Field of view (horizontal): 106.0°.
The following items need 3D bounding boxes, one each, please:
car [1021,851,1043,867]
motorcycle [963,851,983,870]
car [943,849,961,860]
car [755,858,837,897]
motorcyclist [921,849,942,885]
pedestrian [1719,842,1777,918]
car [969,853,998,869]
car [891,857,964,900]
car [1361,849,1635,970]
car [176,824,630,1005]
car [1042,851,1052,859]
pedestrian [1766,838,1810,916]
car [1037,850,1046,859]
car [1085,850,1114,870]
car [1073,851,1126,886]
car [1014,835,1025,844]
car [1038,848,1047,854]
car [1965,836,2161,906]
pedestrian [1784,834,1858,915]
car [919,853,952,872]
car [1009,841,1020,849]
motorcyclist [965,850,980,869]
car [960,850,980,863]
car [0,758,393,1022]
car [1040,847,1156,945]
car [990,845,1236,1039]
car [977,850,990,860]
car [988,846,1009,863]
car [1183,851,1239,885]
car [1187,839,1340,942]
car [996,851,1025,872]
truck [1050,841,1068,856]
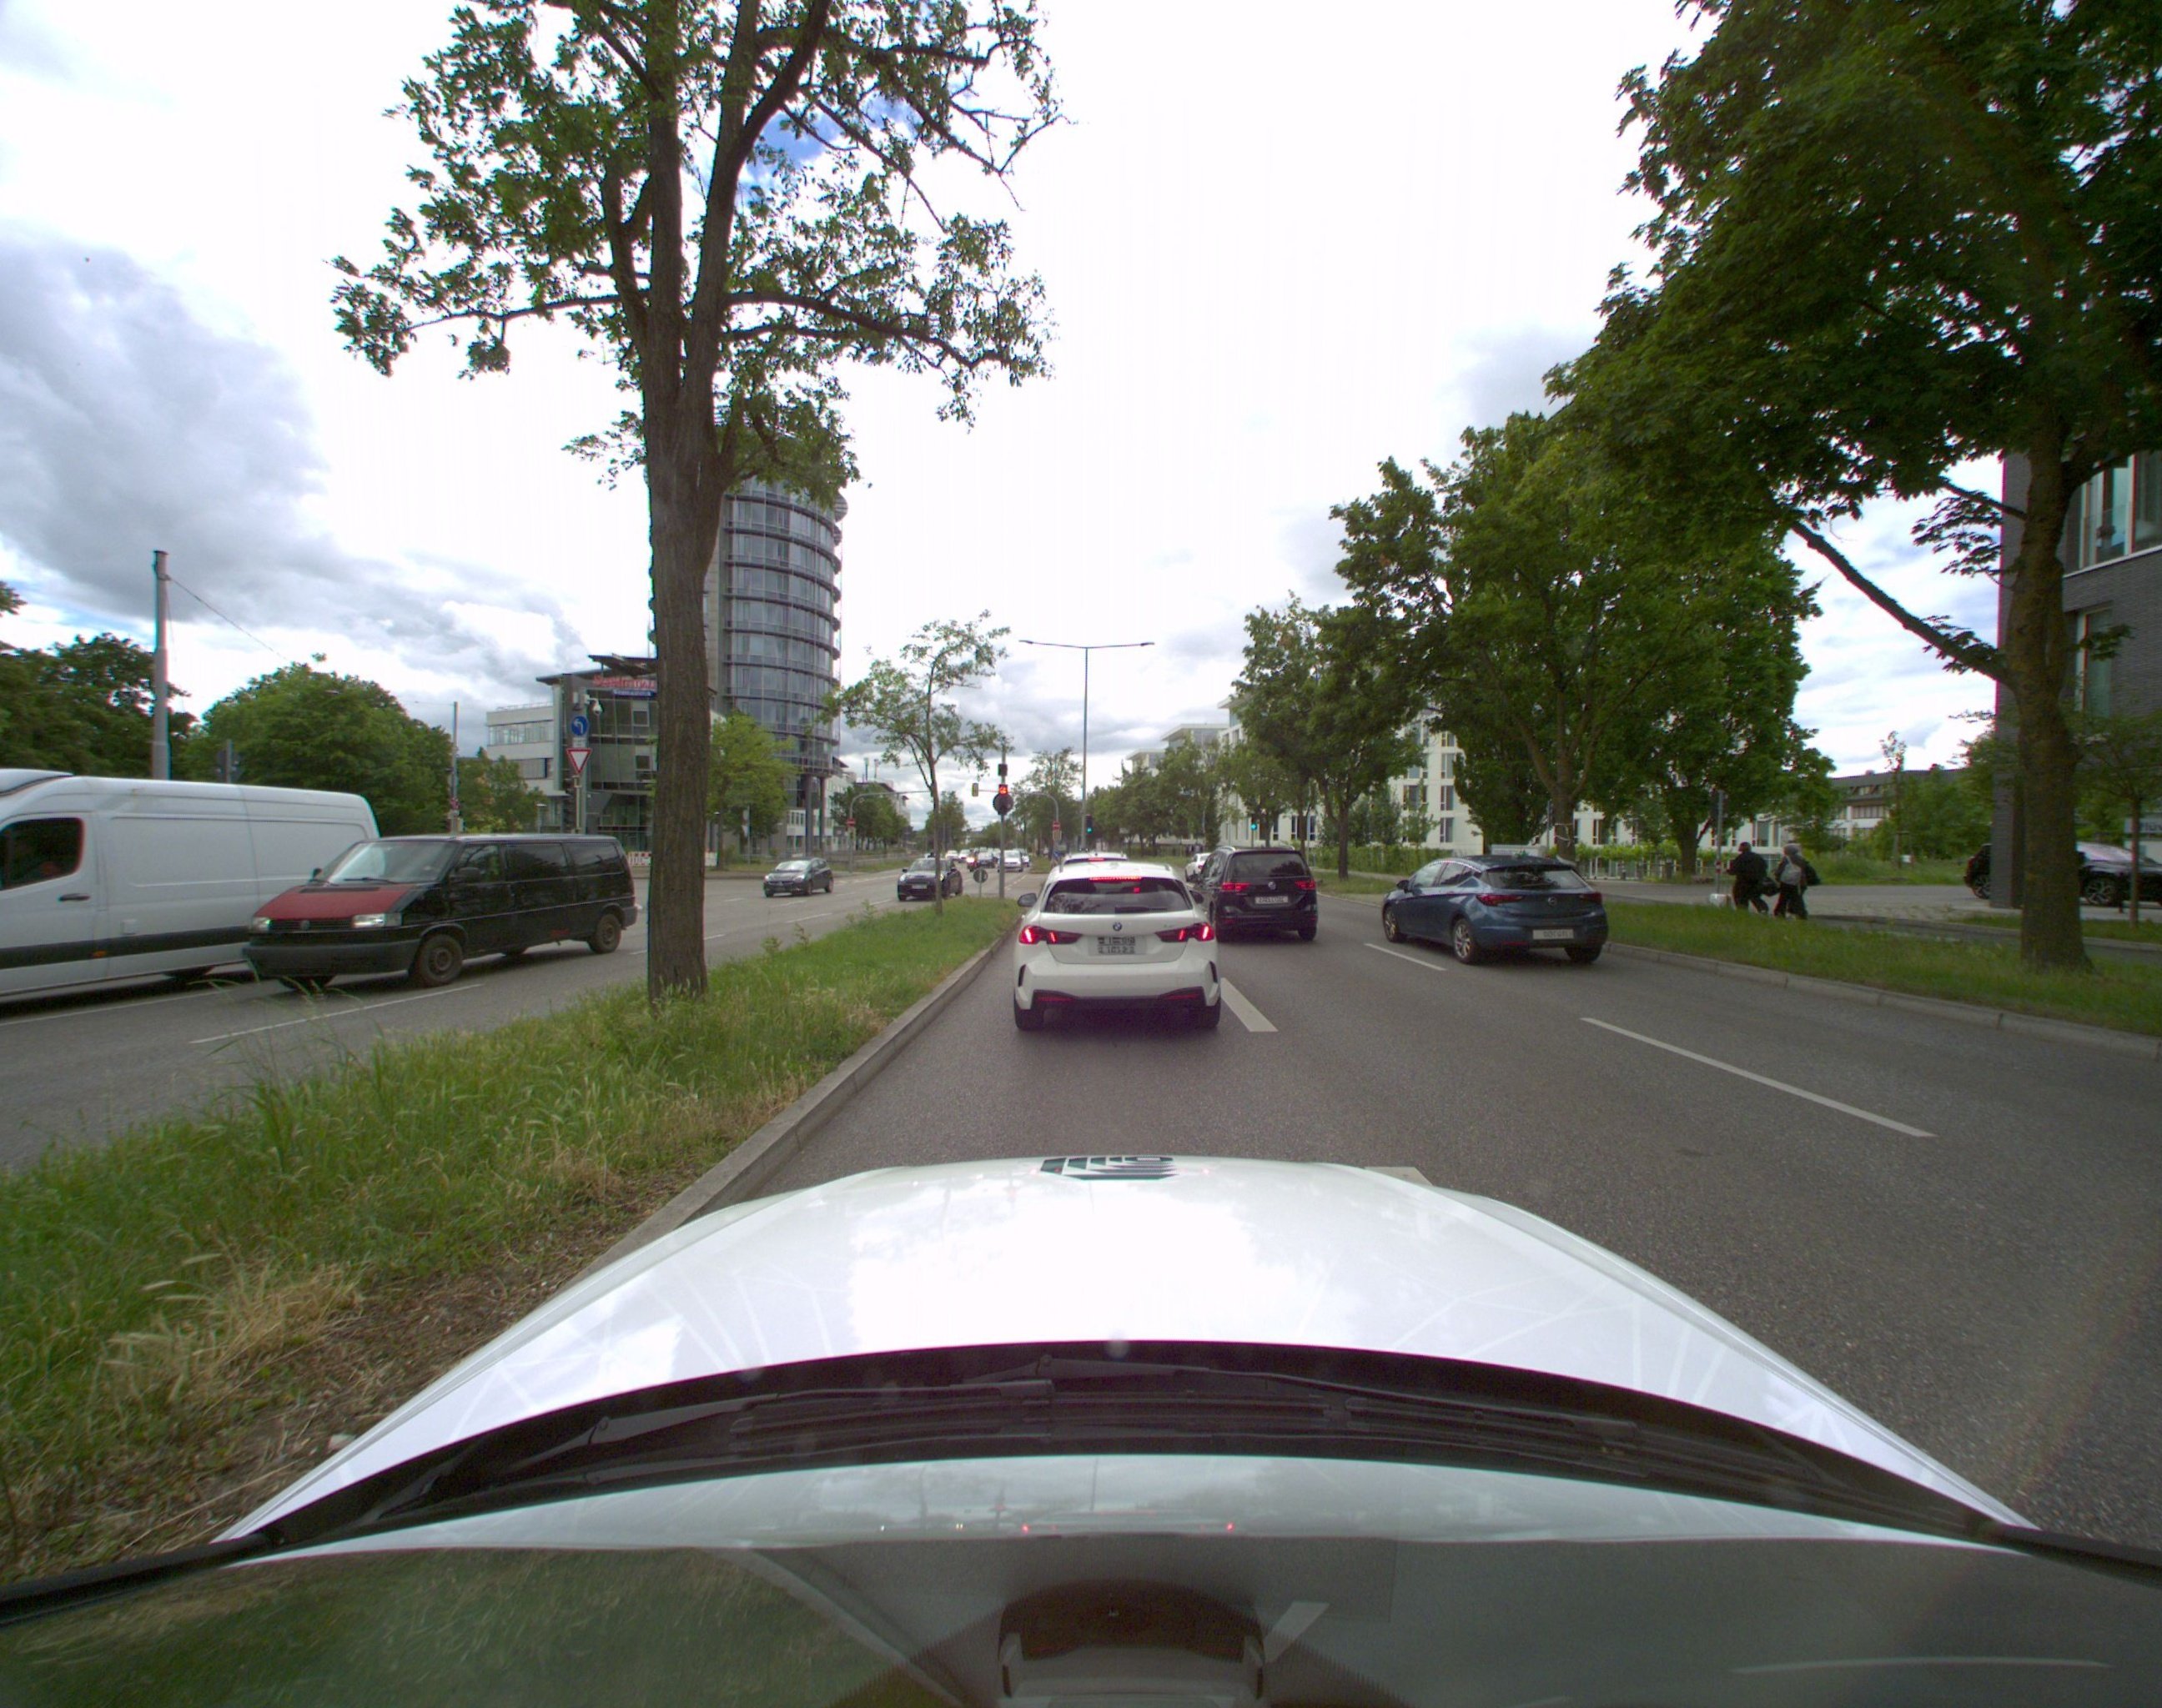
[{"bbox_3d":[-4.548,0.468,75.918,1.661,1.405,4.002,0,0,2],"label":"car"},{"bbox_3d":[-8.274,0.482,62.354,0.886,1.398,4.002,0,0,2],"label":"motorcycle"},{"bbox_3d":[-17.466,0.100,110.248,1.701,1.419,3.804,-1,0,2],"label":"car"},{"bbox_3d":[-11.166,0.880,32.156,1.701,1.419,4.020,-1,0,1],"label":"car"},{"bbox_3d":[-7.696,0.667,41.946,0.845,1.837,1.260,0,0,2],"label":"motorcyclist"},{"bbox_3d":[13.779,0.525,16.835,0.721,1.552,0.588,0,0,7],"label":"pedestrian"},{"bbox_3d":[-8.668,0.589,72.739,1.986,1.354,4.002,0,0,2],"label":"car"},{"bbox_3d":[-5.316,0.817,28.653,1.747,1.371,3.781,-1,0,2],"label":"car"},{"bbox_3d":[5.935,0.683,12.295,1.960,1.439,4.313,-2,0,1],"label":"car"},{"bbox_3d":[-8.583,0.632,11.137,1.928,1.918,4.975,0,0,2],"label":"car"},{"bbox_3d":[-6.879,0.135,164.707,1.991,1.508,3.993,0,0,-5],"label":"car"},{"bbox_3d":[14.440,0.470,16.637,0.407,1.552,0.563,3,-1,7],"label":"pedestrian"},{"bbox_3d":[-9.360,0.152,192.685,1.986,2.013,4.002,0,0,2],"label":"car"},{"bbox_3d":[1.593,0.493,71.156,2.049,1.486,4.967,-3,1,-3],"label":"car"},{"bbox_3d":[0.910,0.635,37.296,1.983,1.508,4.008,0,0,7],"label":"car"},{"bbox_3d":[-13.238,-3.108,174.808,1.988,2.011,4.322,2,0,-1],"label":"car"},{"bbox_3d":[-9.135,-0.738,193.581,1.992,1.508,3.991,0,0,-7],"label":"car"},{"bbox_3d":[25.003,0.374,20.194,1.817,1.552,4.183,0,0,4],"label":"car"},{"bbox_3d":[15.302,0.410,16.867,0.586,1.551,0.745,12,1,7],"label":"pedestrian"},{"bbox_3d":[-11.201,0.644,62.983,1.701,1.419,3.804,-1,0,2],"label":"car"},{"bbox_3d":[-15.615,-2.126,191.988,1.986,1.618,4.002,2,0,2],"label":"car"},{"bbox_3d":[-8.281,0.396,62.214,0.906,1.392,1.674,0,0,2],"label":"motorcyclist"},{"bbox_3d":[-13.284,0.281,97.389,1.701,1.419,3.804,-1,0,2],"label":"car"},{"bbox_3d":[-11.688,0.353,9.548,1.985,2.634,5.880,0,0,3],"label":"car"},{"bbox_3d":[0.391,0.729,15.958,1.985,1.672,4.003,0,0,3],"label":"car"},{"bbox_3d":[0.385,0.671,8.136,1.855,1.449,4.004,0,0,4],"label":"car"},{"bbox_3d":[-19.710,0.133,164.817,1.988,2.011,4.322,0,0,-1],"label":"car"},{"bbox_3d":[-9.572,0.069,94.521,1.986,2.013,4.001,0,0,1],"label":"car"},{"bbox_3d":[6.063,0.629,38.526,1.789,1.472,4.696,0,0,-2],"label":"car"},{"bbox_3d":[3.240,0.589,15.373,1.960,1.640,4.313,-1,0,1],"label":"car"},{"bbox_3d":[-5.234,0.541,60.768,1.701,1.497,3.804,-1,0,2],"label":"car"},{"bbox_3d":[-4.045,-0.956,147.778,2.856,2.519,6.274,0,0,-6],"label":"truck"}]
